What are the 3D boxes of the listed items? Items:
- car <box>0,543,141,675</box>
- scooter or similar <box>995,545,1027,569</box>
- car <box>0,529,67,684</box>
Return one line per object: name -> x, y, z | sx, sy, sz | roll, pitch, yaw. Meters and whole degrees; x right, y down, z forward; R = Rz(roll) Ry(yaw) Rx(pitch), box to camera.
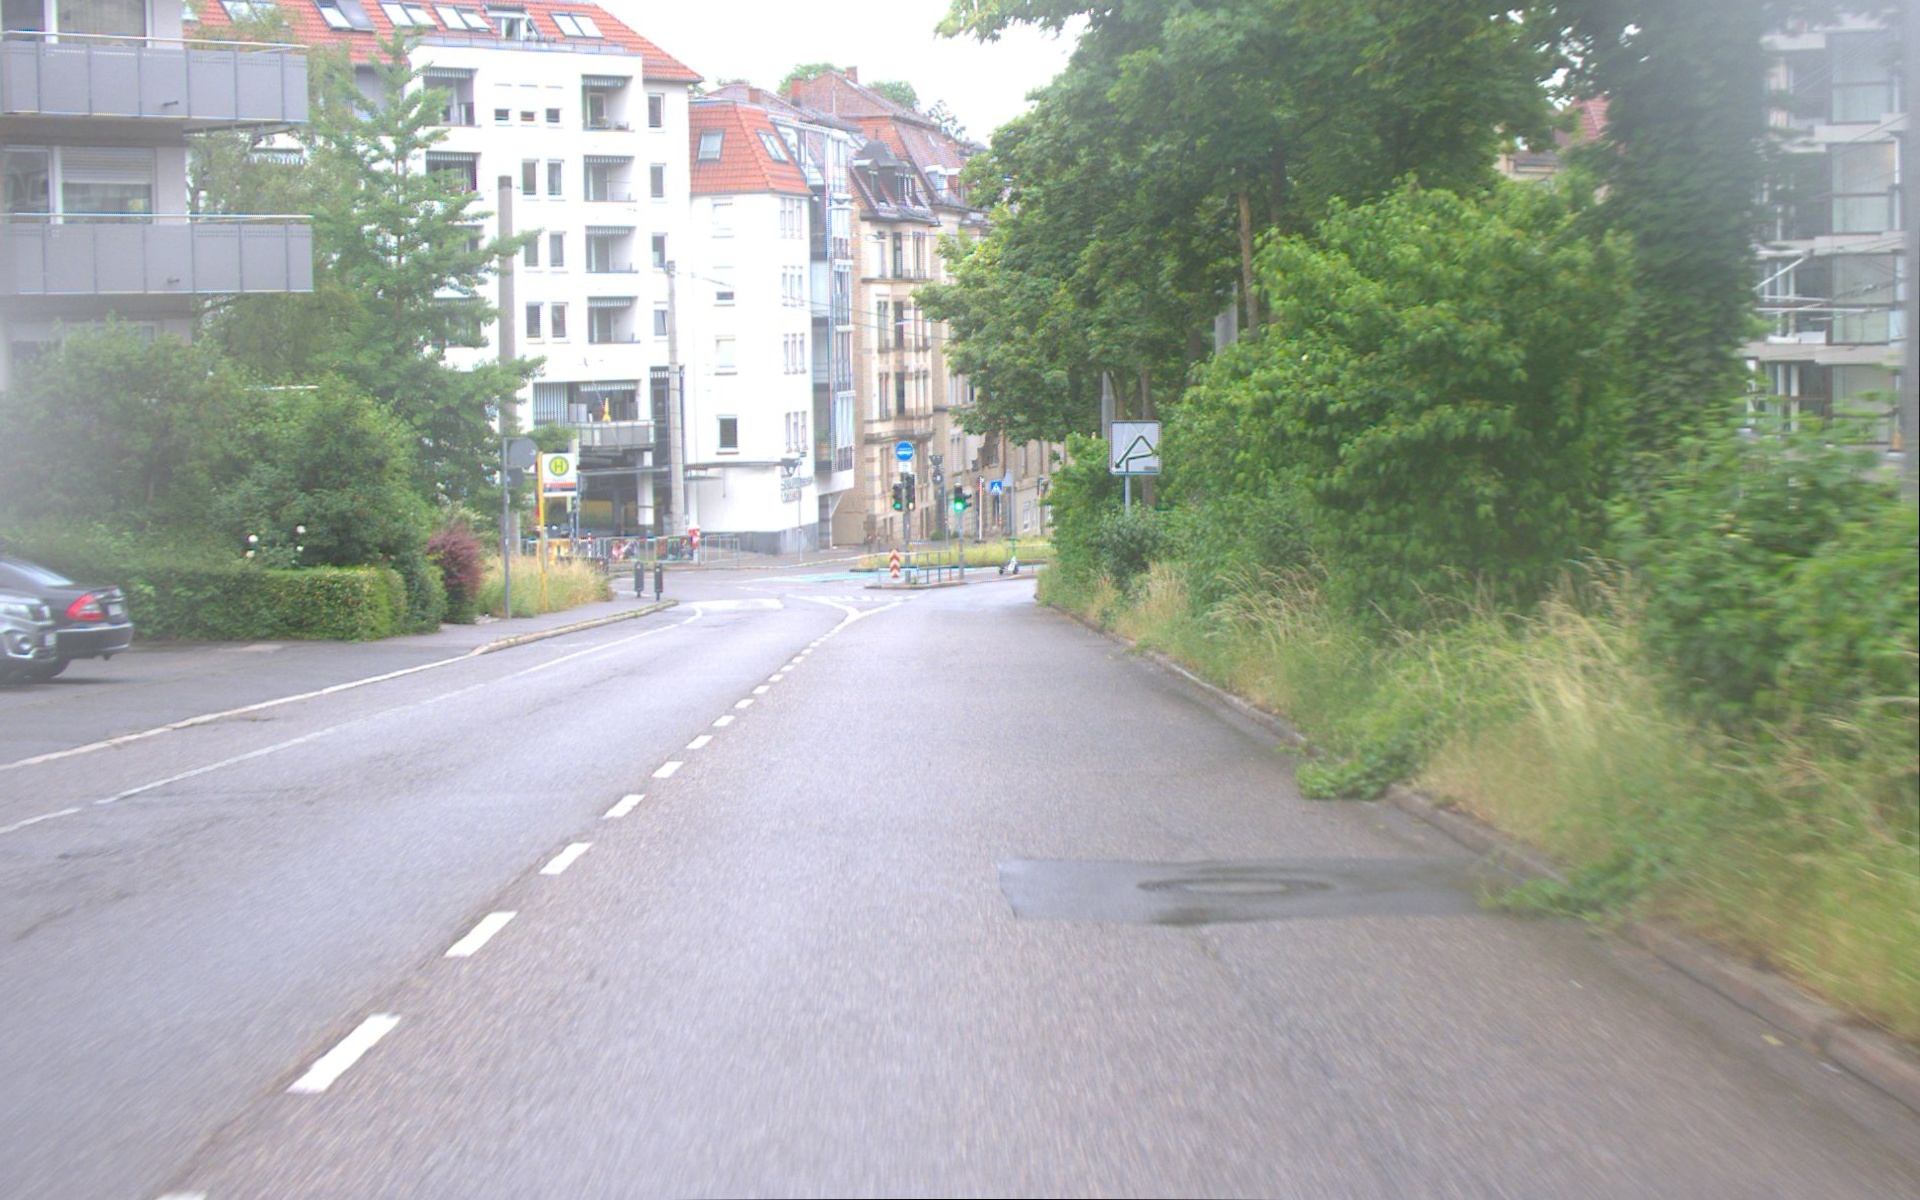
car -> -11.044, 0.102, 37.748 | 3.631, 1.402, 1.783 | -1, 1, 1
scooter or similar -> 1.649, -1.403, 111.306 | 0.485, 0.759, 1.328 | -1, 1, 28
car -> -11.396, 0.080, 35.385 | 3.986, 1.554, 1.880 | -1, 1, -4
